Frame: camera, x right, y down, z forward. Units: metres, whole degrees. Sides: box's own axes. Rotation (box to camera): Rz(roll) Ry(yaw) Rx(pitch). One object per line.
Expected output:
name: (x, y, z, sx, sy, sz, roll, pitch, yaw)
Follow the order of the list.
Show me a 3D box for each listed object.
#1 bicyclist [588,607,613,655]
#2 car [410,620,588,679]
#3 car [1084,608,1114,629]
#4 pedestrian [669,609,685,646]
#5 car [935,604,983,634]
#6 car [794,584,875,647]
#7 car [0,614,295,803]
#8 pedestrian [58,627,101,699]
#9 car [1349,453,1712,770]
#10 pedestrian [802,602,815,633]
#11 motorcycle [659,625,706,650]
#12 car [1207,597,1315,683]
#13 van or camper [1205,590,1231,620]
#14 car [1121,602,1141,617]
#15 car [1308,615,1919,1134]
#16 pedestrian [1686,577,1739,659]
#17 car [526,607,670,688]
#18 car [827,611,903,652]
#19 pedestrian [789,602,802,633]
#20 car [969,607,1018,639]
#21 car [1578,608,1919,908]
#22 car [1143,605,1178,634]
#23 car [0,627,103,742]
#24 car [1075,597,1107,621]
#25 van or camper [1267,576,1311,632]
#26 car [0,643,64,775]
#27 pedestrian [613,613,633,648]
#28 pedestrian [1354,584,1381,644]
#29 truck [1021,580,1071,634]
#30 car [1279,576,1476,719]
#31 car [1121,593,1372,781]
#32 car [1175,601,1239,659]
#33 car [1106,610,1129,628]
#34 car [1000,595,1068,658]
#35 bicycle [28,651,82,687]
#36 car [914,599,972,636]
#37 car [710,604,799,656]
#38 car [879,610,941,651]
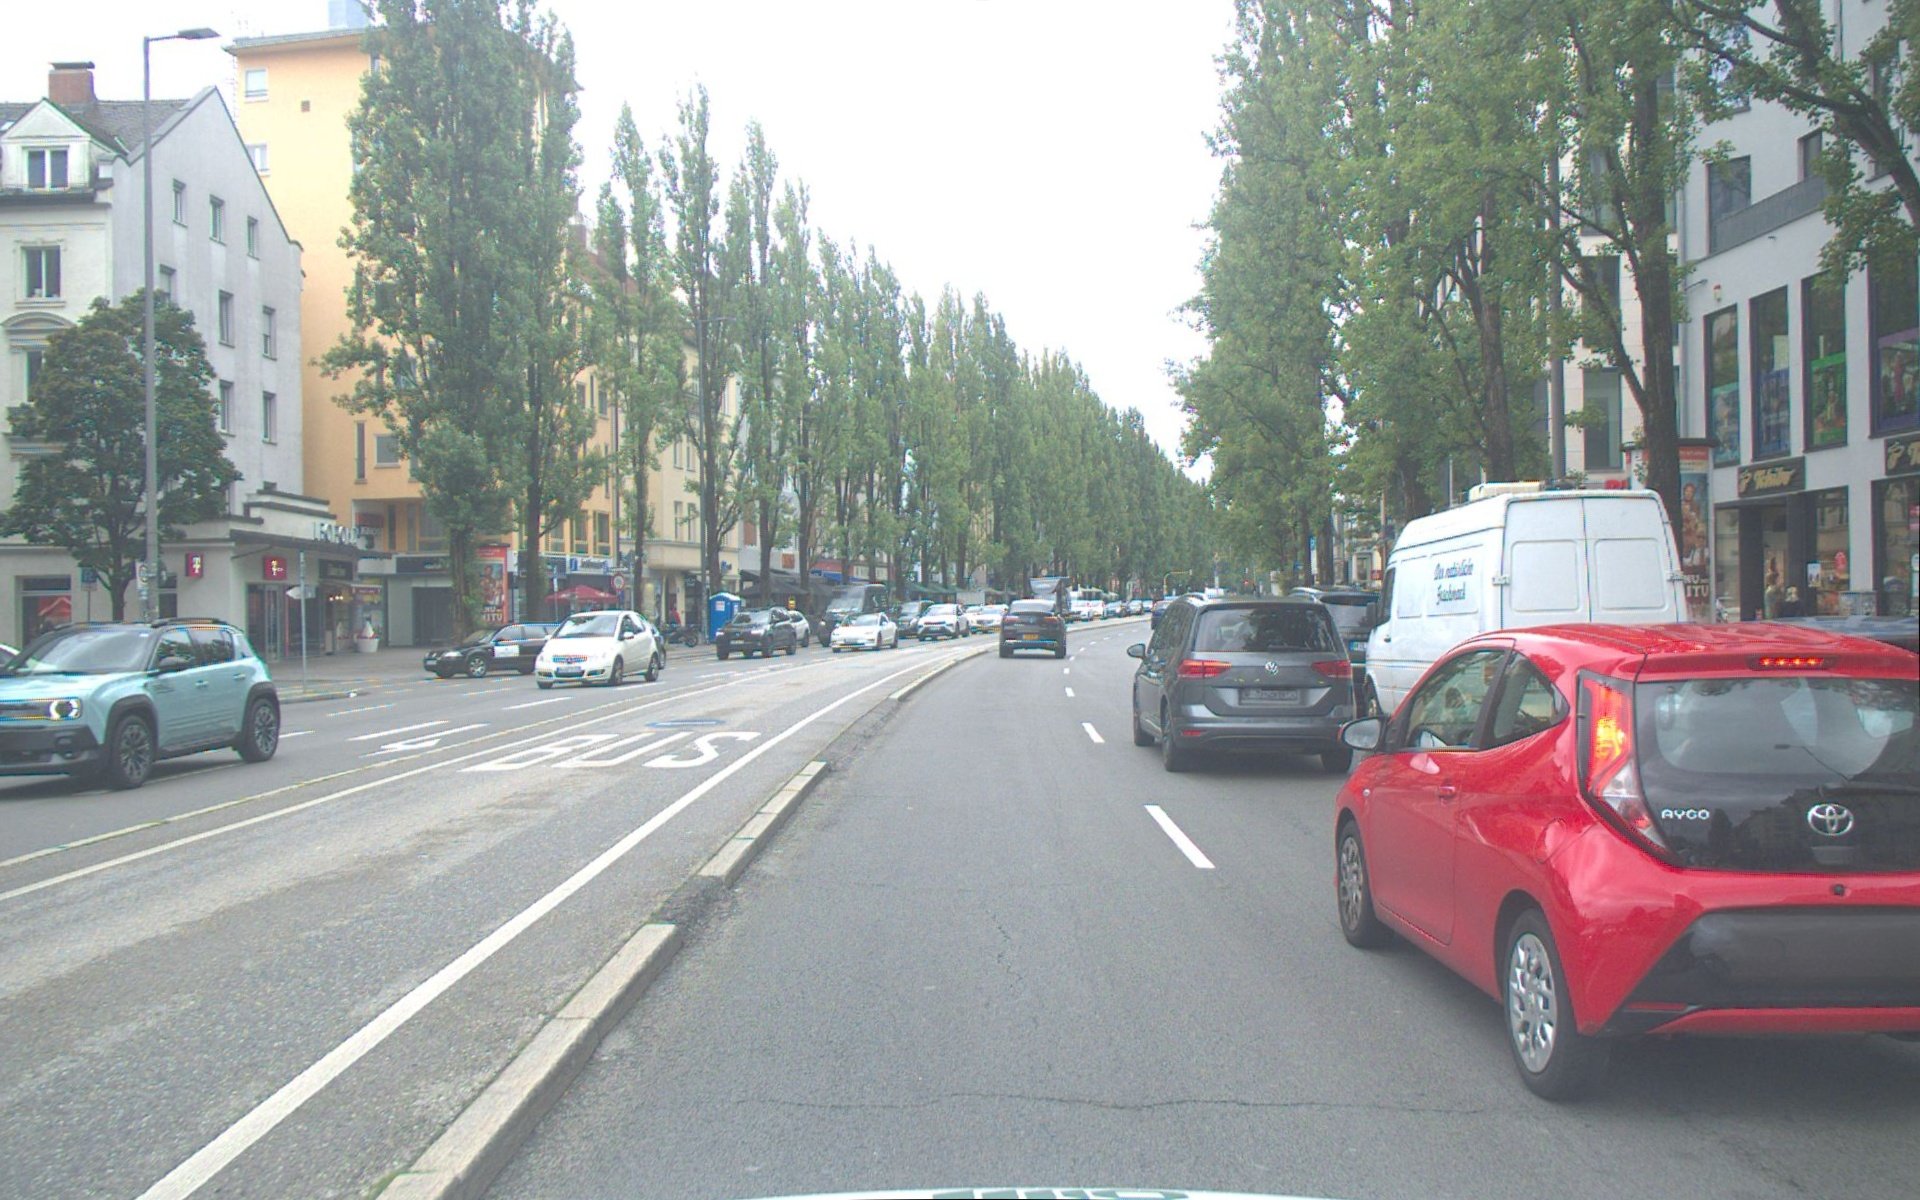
bicyclist: (-12.347, 1.073, 56.824, 0.491, 1.620, 0.835, -1, 0, 11)
car: (-12.977, 1.370, 46.707, 4.469, 1.464, 1.899, -2, 0, -42)
car: (11.375, 1.500, 135.068, 1.898, 1.671, 4.467, -2, 0, 11)
pedestrian: (-13.895, 1.348, 81.180, 0.527, 1.777, 0.756, -1, 0, 11)
car: (-0.011, 1.140, 99.466, 1.951, 1.680, 4.640, -2, 0, 11)
car: (-5.551, 0.683, 74.075, 2.123, 2.651, 6.069, -2, 0, 10)
car: (-8.396, 0.993, 16.513, 1.780, 1.572, 4.000, -3, 0, 1)
pedestrian: (-19.040, 1.359, 35.766, 0.534, 1.521, 0.656, -1, 0, 3)
car: (5.695, 0.132, 17.393, 1.952, 2.789, 5.554, 0, -1, 1)
pedestrian: (-9.426, 1.107, 103.124, 0.624, 1.894, 0.648, -2, 0, 11)
motorcycle: (-12.098, 1.627, 72.128, 2.017, 1.054, 0.485, 0, -1, -9)
car: (6.371, 0.814, 35.391, 1.691, 1.716, 4.410, 0, 0, 3)
van or camper: (22.490, 0.482, 144.130, 1.991, 2.519, 4.003, -1, -2, 11)
car: (16.900, 0.955, 163.259, 1.675, 1.439, 3.726, -1, 0, 11)
car: (2.579, 0.805, 6.513, 1.631, 1.471, 3.595, 0, -1, -1)
pedestrian: (14.797, 0.355, 32.517, 0.668, 1.585, 0.750, -1, 0, 1)
car: (-7.837, 1.003, 36.210, 1.912, 1.617, 4.002, -1, 0, 5)
car: (-3.587, 1.193, 63.405, 1.761, 1.419, 4.694, -2, 0, 11)
pedestrian: (-10.260, 1.105, 103.127, 0.624, 1.894, 0.648, -2, 0, 11)
car: (1.894, 1.246, 91.922, 1.951, 1.616, 5.200, -3, 0, 9)
car: (5.395, 0.814, 10.319, 1.689, 1.479, 4.149, 1, 0, 3)
car: (11.777, 1.149, 97.115, 1.721, 1.648, 3.750, 0, -1, 11)
car: (-13.903, 1.211, 21.768, 1.817, 1.495, 4.986, -3, 0, 13)
car: (9.887, 0.672, 125.006, 1.820, 1.741, 4.540, -2, 0, 11)
van or camper: (19.662, 0.216, 98.614, 2.408, 3.166, 4.719, -2, 0, 12)
car: (-11.622, 1.253, 17.256, 1.693, 1.433, 4.690, -1, 0, 4)
pedestrian: (-15.484, 1.400, 76.021, 0.620, 1.589, 0.816, -1, 0, 13)
pedestrian: (11.426, 0.397, 46.357, 0.597, 1.647, 0.795, -2, 0, 9)
truck: (5.801, 0.433, 110.497, 2.242, 3.381, 7.163, -2, 0, 11)
car: (5.855, 0.622, 23.765, 1.888, 1.836, 4.781, 0, 0, 3)
car: (2.721, 0.765, 16.616, 1.725, 1.642, 4.182, 0, 0, -1)
car: (7.753, 0.923, 52.193, 1.884, 1.730, 4.653, 0, -1, 7)
car: (14.064, 1.700, 147.523, 1.631, 1.624, 4.003, 0, -1, 11)
car: (2.107, 0.729, 47.679, 1.841, 1.670, 4.584, -1, 0, 2)
bicycle: (-27.086, 2.063, 49.539, 0.449, 0.980, 1.882, -1, 0, 5)
car: (-0.748, 0.784, 77.117, 1.869, 1.631, 4.359, -2, 0, 10)
car: (-7.362, 1.052, 59.645, 1.975, 1.746, 4.986, -1, 0, 7)
car: (-2.528, 1.536, 85.152, 1.951, 1.896, 5.716, -3, 0, 11)
